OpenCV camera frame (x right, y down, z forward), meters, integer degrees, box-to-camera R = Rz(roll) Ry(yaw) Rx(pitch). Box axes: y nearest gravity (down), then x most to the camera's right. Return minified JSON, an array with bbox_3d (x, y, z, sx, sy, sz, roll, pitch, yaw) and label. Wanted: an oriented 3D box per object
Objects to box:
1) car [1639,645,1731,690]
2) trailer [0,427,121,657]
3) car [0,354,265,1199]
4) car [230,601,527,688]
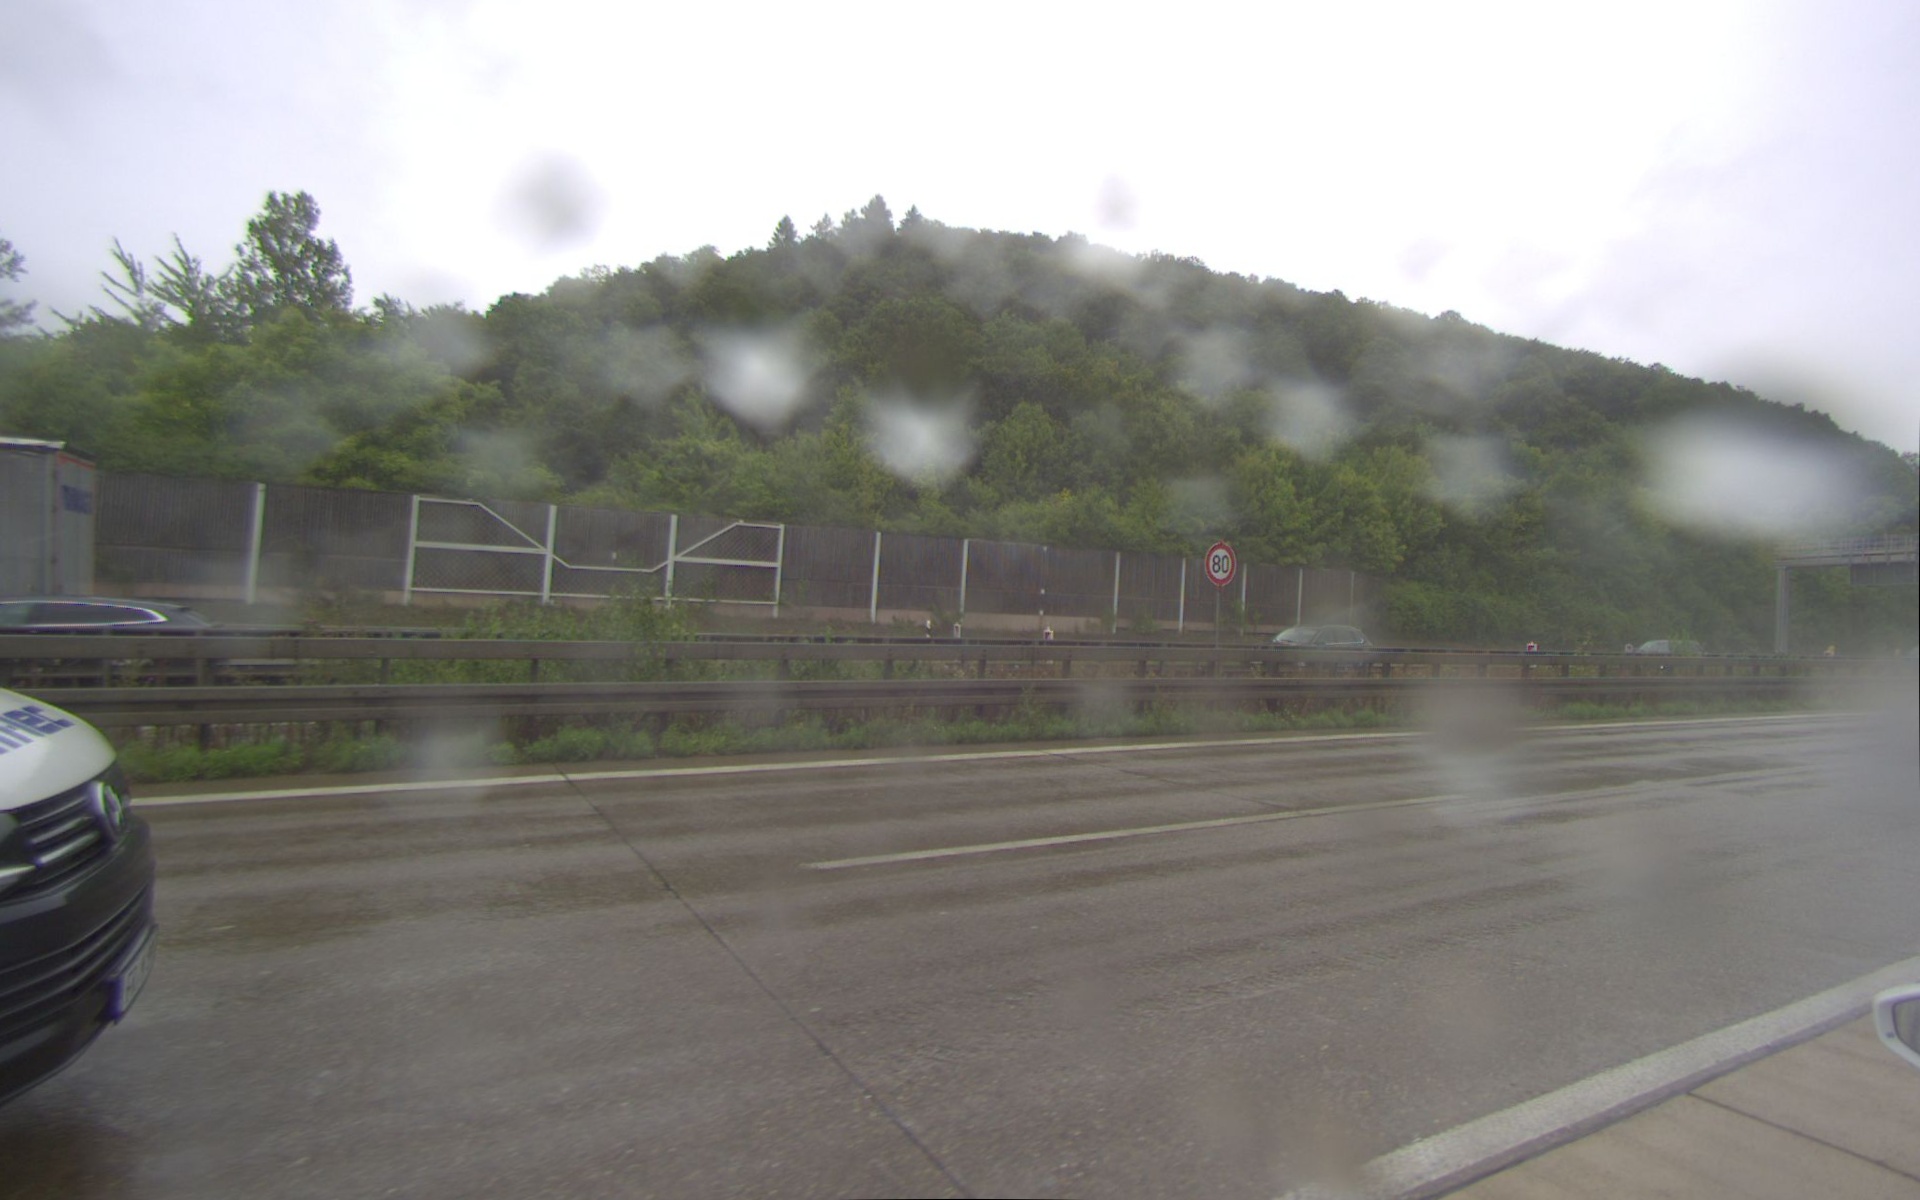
[{"bbox_3d":[30.024,2.771,41.584,3.957,1.684,1.787,2,-1,-33],"label":"car"},{"bbox_3d":[-21.797,-1.186,15.161,13.614,3.852,2.754,2,1,-30],"label":"trailer"},{"bbox_3d":[-4.279,0.410,1.642,4.985,1.919,1.890,2,-1,-31],"label":"car"},{"bbox_3d":[-10.039,0.769,17.635,4.294,1.321,1.743,2,0,-31],"label":"car"}]
